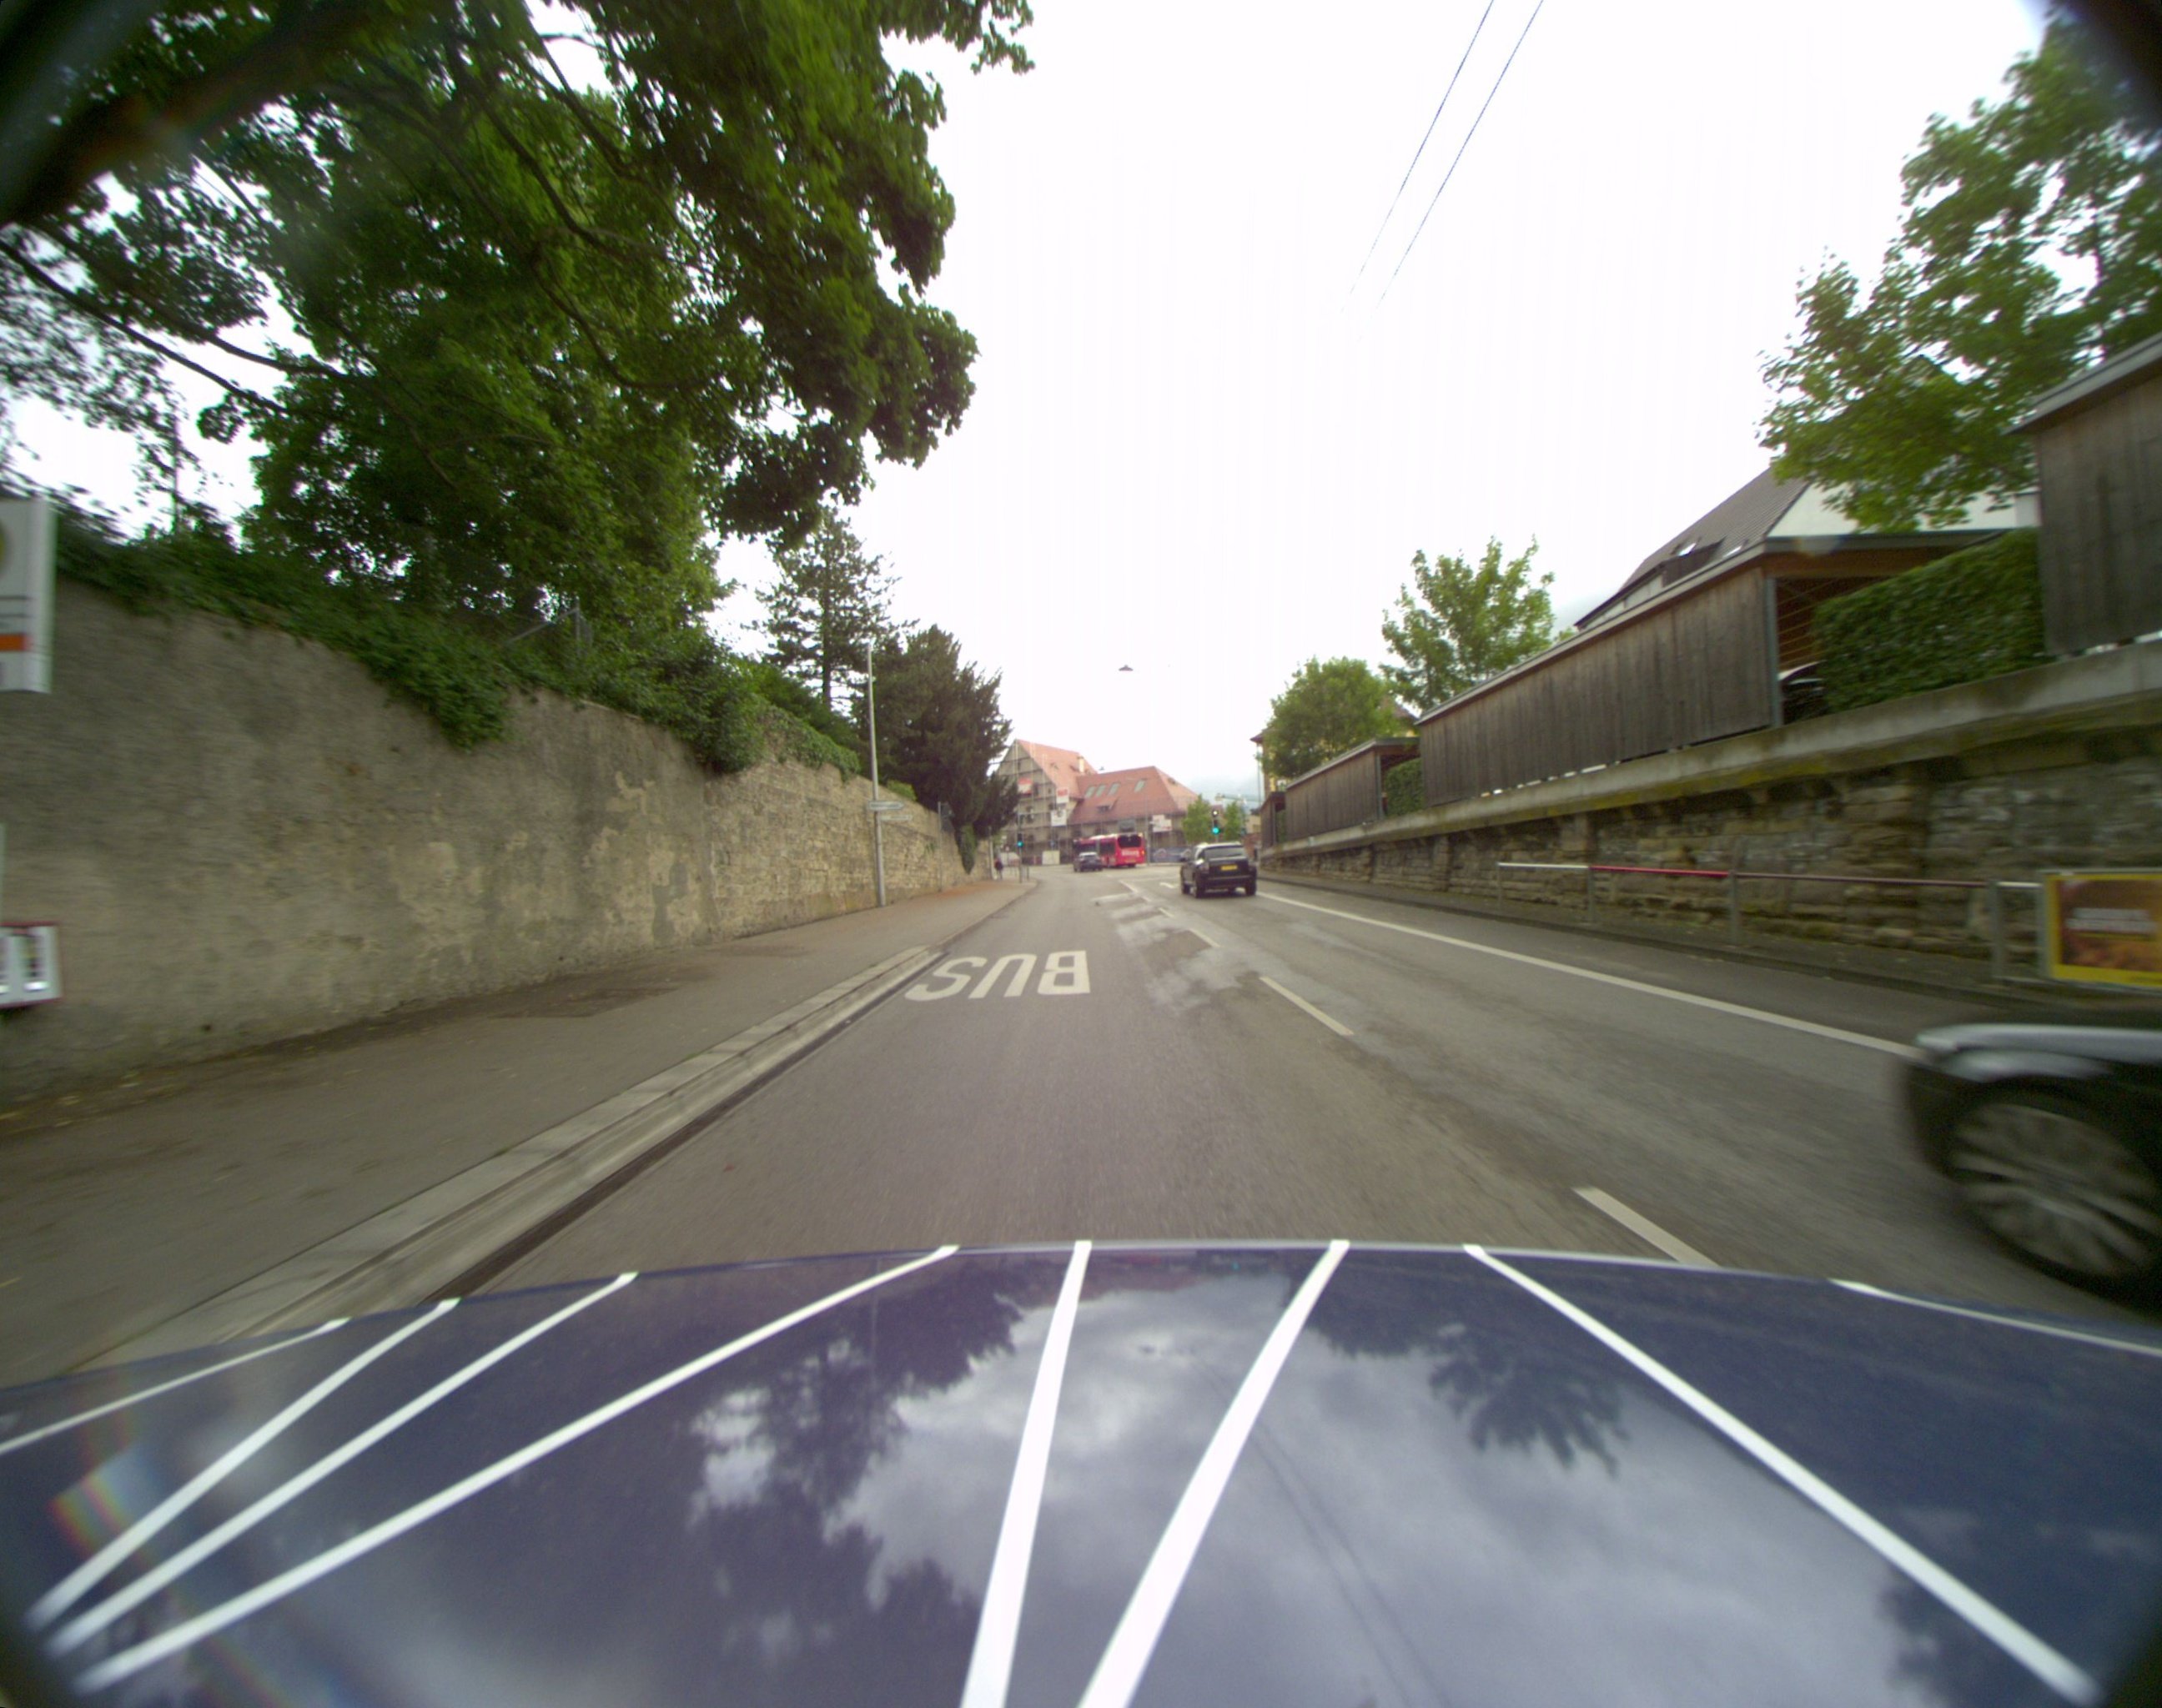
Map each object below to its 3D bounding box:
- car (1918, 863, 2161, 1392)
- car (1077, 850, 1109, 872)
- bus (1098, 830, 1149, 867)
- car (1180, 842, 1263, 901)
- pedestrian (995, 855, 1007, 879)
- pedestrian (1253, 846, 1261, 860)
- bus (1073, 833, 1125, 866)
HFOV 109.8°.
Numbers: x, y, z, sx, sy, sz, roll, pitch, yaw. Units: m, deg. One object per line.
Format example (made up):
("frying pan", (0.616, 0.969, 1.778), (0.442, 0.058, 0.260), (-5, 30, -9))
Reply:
("car", (4.023, 0.816, 0.878), (1.739, 1.524, 4.000), (-2, 1, 1))
("car", (0.993, 0.580, 65.721), (1.928, 1.621, 4.518), (-5, 1, -8))
("bus", (3.815, -0.482, 70.717), (2.666, 3.104, 8.285), (-4, 0, -10))
("car", (4.570, 0.522, 25.303), (1.899, 1.746, 4.436), (-2, 1, 0))
("pedestrian", (-5.480, 0.879, 51.903), (0.733, 1.567, 0.743), (-1, 0, -3))
("pedestrian", (19.113, -0.093, 82.414), (0.540, 1.568, 0.651), (-2, 1, -39))
("bus", (1.747, -0.393, 79.663), (2.667, 3.104, 10.007), (-4, 0, -14))
